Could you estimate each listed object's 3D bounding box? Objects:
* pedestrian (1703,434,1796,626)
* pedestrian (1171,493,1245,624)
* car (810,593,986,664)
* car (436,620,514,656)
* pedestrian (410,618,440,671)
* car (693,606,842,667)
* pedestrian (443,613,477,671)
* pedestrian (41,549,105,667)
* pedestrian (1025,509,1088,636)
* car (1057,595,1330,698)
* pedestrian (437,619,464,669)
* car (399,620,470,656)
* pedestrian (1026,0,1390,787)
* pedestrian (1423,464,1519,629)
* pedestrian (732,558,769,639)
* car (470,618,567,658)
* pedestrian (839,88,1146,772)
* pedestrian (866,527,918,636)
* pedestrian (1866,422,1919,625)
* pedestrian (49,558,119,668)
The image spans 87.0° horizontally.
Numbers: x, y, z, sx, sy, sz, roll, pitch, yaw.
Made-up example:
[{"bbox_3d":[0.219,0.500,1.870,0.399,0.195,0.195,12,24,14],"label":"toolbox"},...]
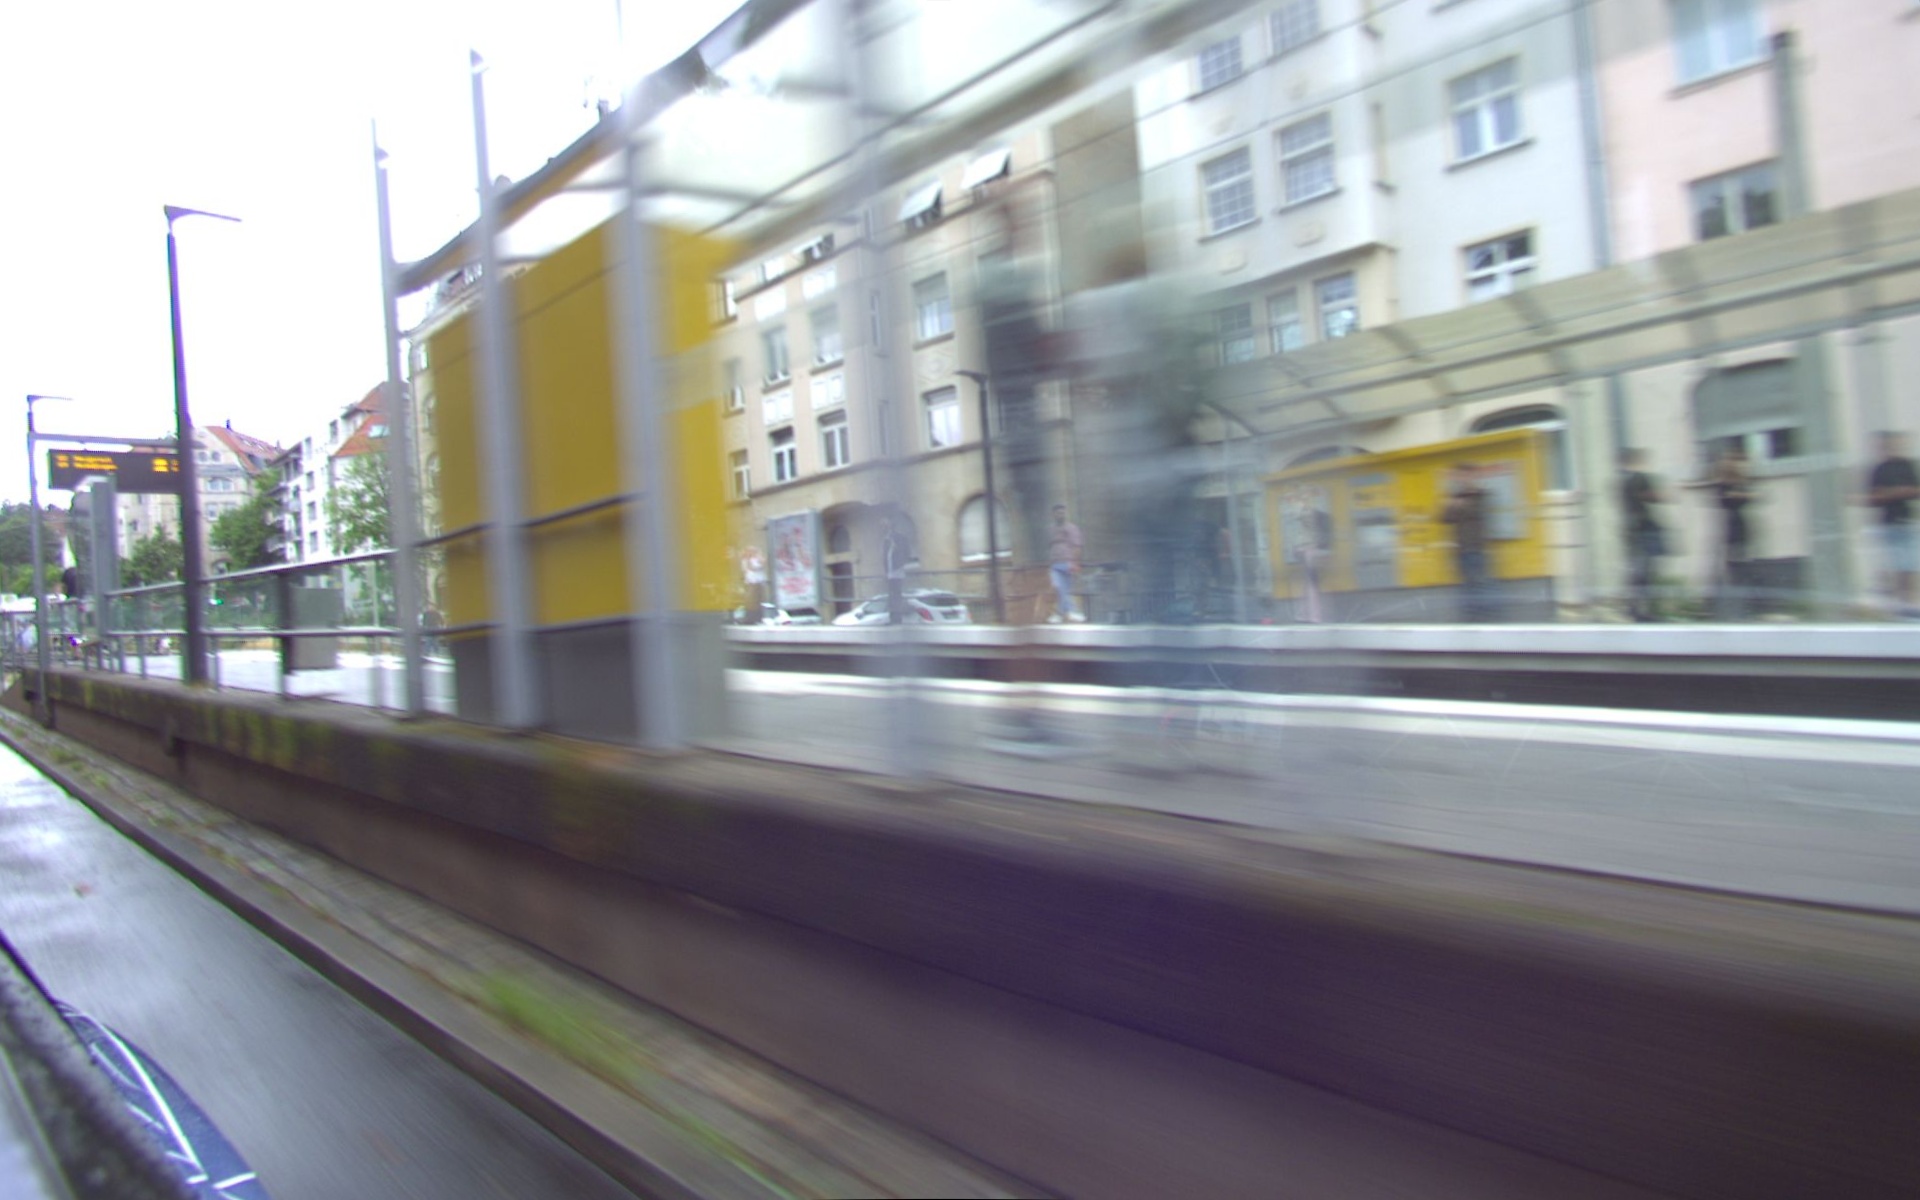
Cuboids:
[{"bbox_3d":[7.224,-0.602,9.259,0.591,1.679,0.588,-2,-2,42],"label":"pedestrian"},{"bbox_3d":[3.317,-0.529,13.551,0.762,1.679,0.588,-2,-2,42],"label":"pedestrian"},{"bbox_3d":[-1.658,0.753,25.815,4.536,1.635,1.902,-3,-2,44],"label":"car"},{"bbox_3d":[-21.195,1.661,44.158,4.174,1.453,1.613,-3,-1,43],"label":"car"},{"bbox_3d":[-16.703,1.375,31.584,0.621,1.605,0.618,-3,-1,44],"label":"pedestrian"},{"bbox_3d":[-5.713,1.018,29.716,4.532,1.544,1.972,-1,2,43],"label":"car"},{"bbox_3d":[-15.321,1.286,31.016,0.729,1.712,0.712,-3,-1,44],"label":"pedestrian"},{"bbox_3d":[-13.932,0.127,15.887,0.847,1.797,0.643,-3,-1,43],"label":"pedestrian"},{"bbox_3d":[1.453,-0.391,15.266,0.762,1.852,0.510,-2,-2,42],"label":"pedestrian"},{"bbox_3d":[4.366,0.840,19.532,4.816,1.745,1.971,-2,-1,45],"label":"car"},{"bbox_3d":[-15.972,1.382,31.733,0.619,1.543,0.515,-3,-1,37],"label":"pedestrian"},{"bbox_3d":[-24.571,1.785,47.234,4.174,1.559,1.613,-3,-1,43],"label":"car"},{"bbox_3d":[0.673,-0.516,2.760,0.711,1.895,0.583,-3,-1,41],"label":"pedestrian"},{"bbox_3d":[5.449,-0.540,10.796,0.762,1.679,0.588,-2,-2,42],"label":"pedestrian"},{"bbox_3d":[-4.264,-0.024,20.621,0.563,1.617,0.510,-2,-2,42],"label":"pedestrian"},{"bbox_3d":[-17.751,1.527,40.591,4.866,1.453,1.699,-3,-1,42],"label":"car"},{"bbox_3d":[0.101,-0.463,3.232,0.711,1.879,0.583,-3,-1,41],"label":"pedestrian"},{"bbox_3d":[-1.185,-0.297,17.625,0.762,1.852,0.510,-2,-2,42],"label":"pedestrian"},{"bbox_3d":[8.126,-0.631,8.577,0.614,1.679,0.544,-2,-2,42],"label":"pedestrian"},{"bbox_3d":[-12.967,0.191,14.984,0.684,1.574,0.643,-3,1,43],"label":"pedestrian"}]
